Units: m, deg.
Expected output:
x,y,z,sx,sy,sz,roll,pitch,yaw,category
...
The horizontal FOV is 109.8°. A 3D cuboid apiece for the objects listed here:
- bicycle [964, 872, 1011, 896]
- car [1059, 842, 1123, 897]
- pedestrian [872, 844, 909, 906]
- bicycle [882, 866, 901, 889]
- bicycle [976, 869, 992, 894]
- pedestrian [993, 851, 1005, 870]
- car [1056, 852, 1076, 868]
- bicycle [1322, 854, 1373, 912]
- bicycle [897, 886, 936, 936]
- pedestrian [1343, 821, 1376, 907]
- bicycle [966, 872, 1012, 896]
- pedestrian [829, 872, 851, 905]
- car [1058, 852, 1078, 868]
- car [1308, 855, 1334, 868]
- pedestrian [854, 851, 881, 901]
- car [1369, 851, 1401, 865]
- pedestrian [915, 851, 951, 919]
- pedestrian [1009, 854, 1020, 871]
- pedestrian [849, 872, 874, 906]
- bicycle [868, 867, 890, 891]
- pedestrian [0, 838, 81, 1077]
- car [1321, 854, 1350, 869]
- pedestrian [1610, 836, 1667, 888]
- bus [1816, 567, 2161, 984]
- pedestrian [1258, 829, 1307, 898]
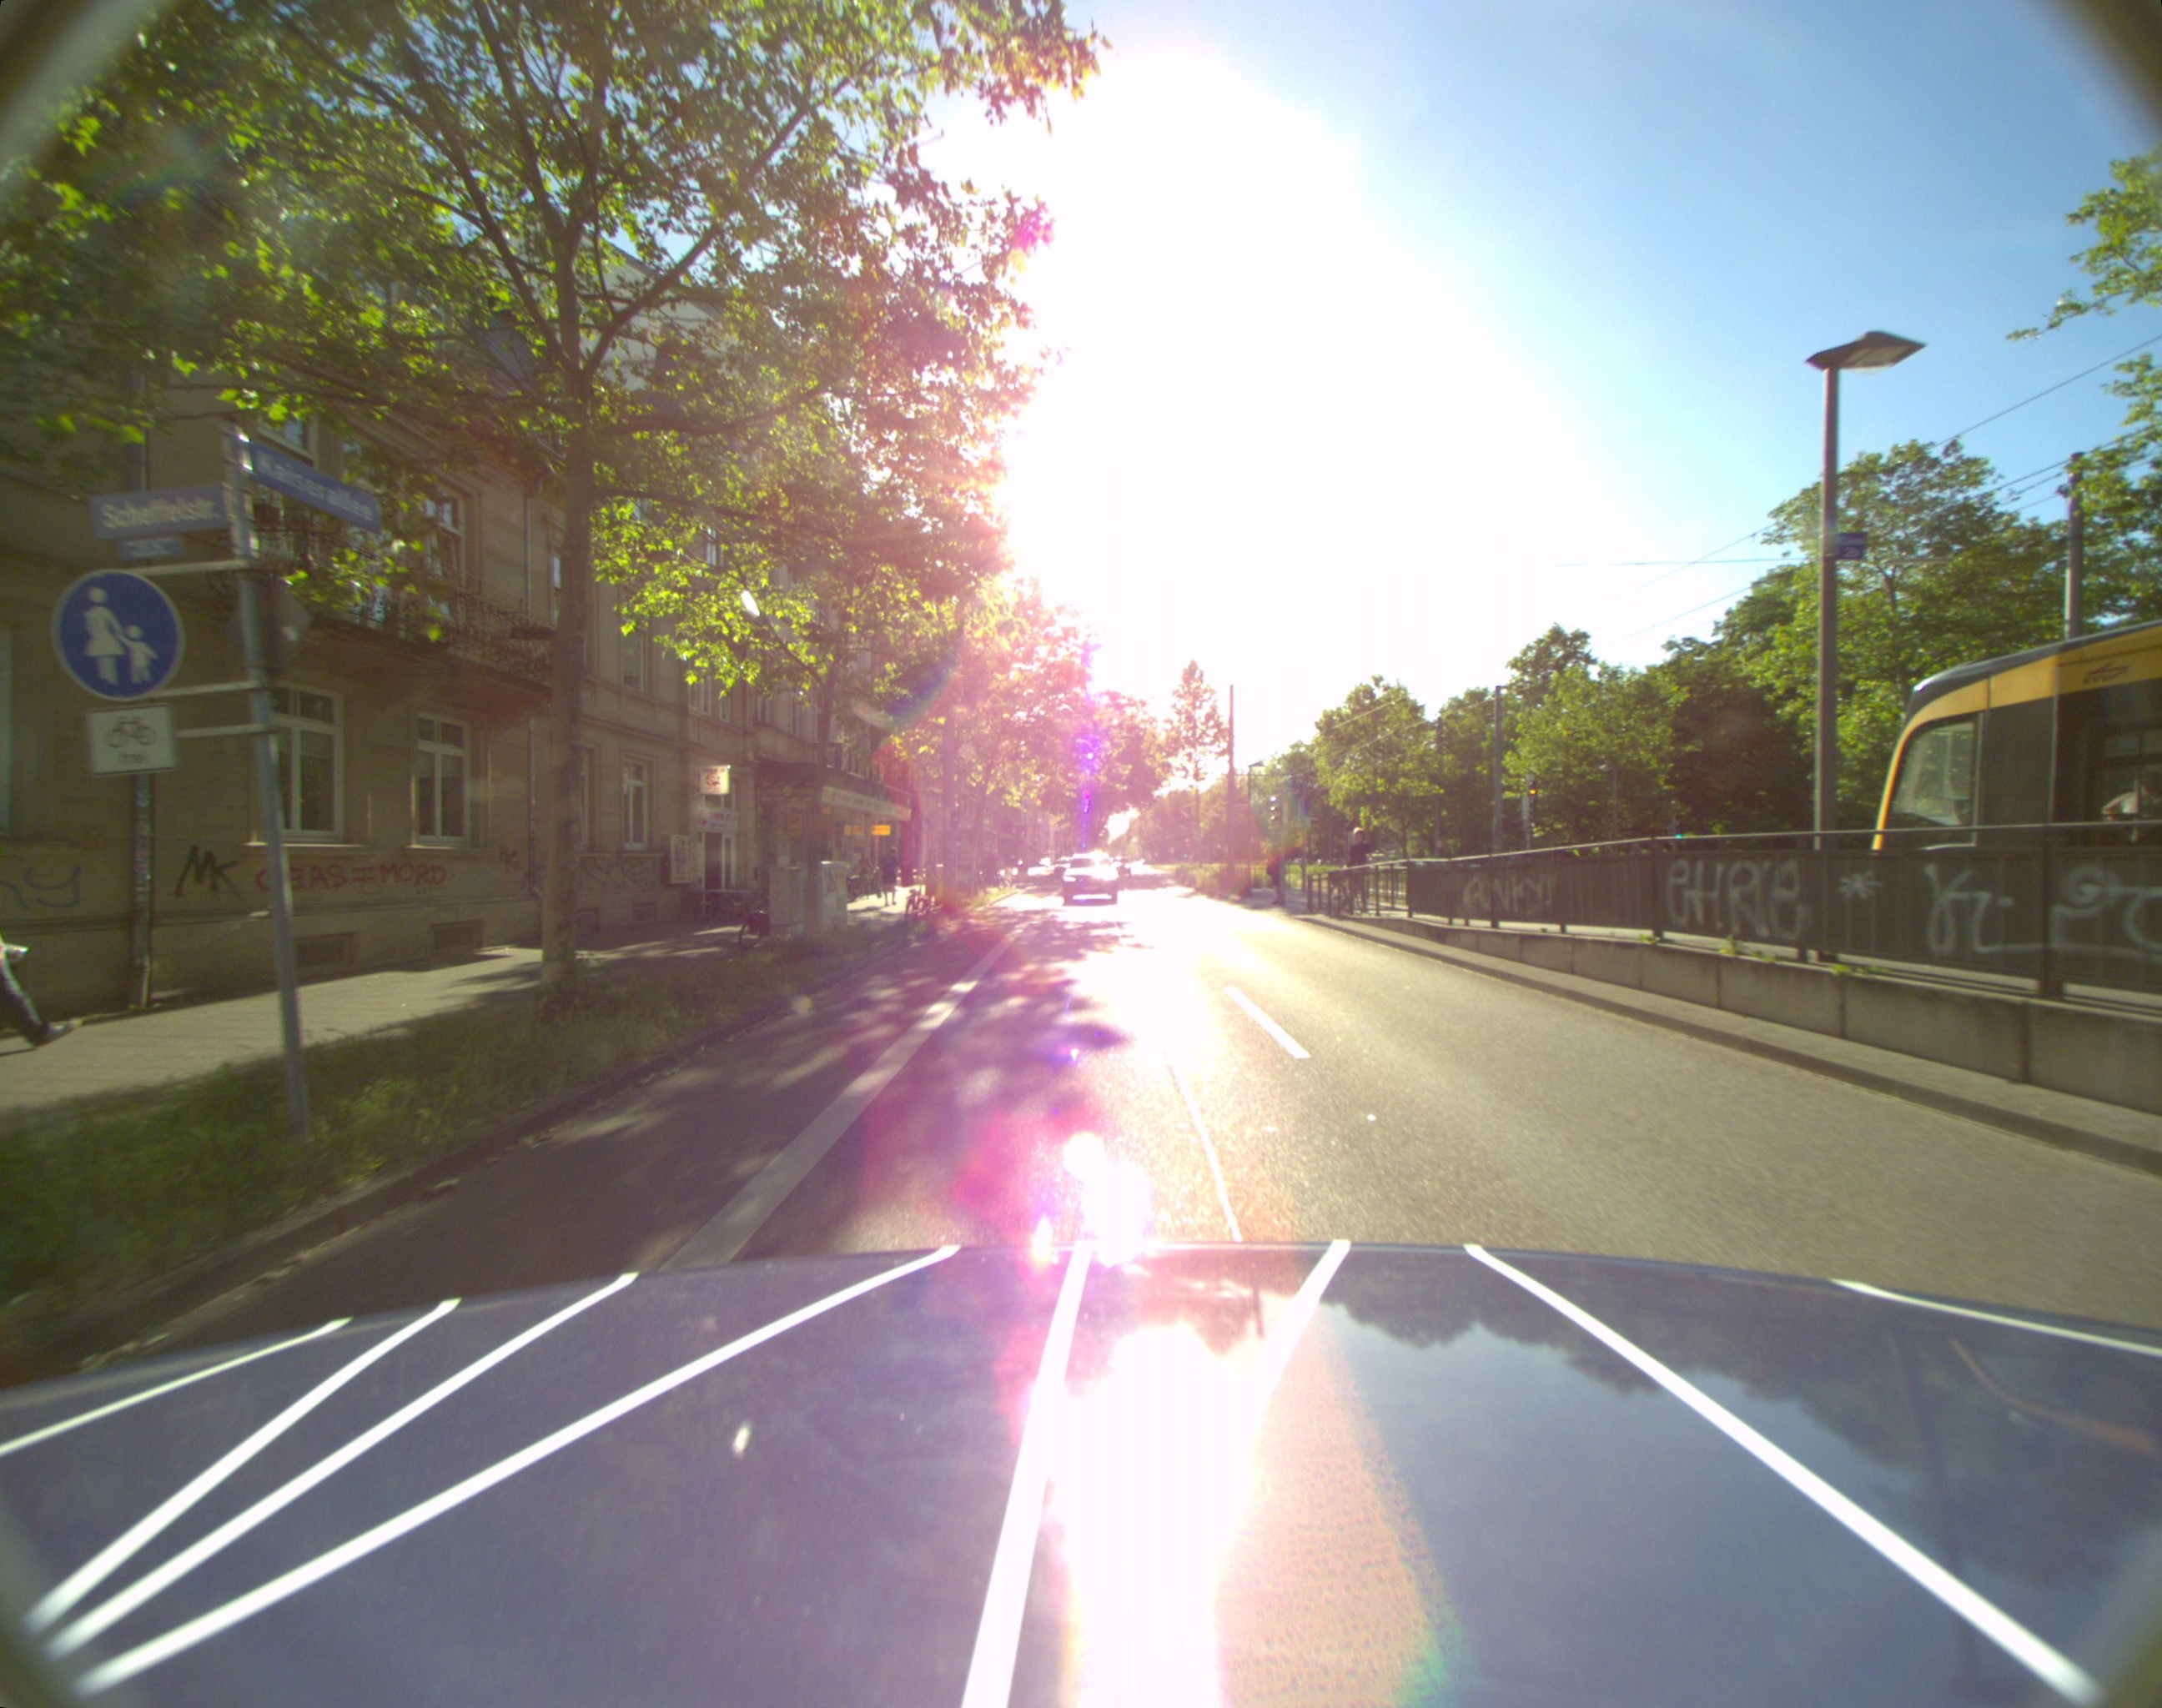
x,y,z,sx,sy,sz,roll,pitch,yaw,category
-4.225,1.369,34.395,2.019,0.987,0.444,-2,0,-1,bicycle
0.328,0.520,25.976,1.969,1.663,4.000,-2,-1,0,car
-6.262,0.690,25.061,0.884,2.002,0.857,-2,0,4,pedestrian
-8.806,1.085,35.406,0.444,0.987,1.689,-2,-1,0,bicycle
-4.018,1.138,31.294,0.444,0.987,1.687,-2,-1,-13,bicycle
-7.701,0.605,71.723,1.002,1.829,0.715,-1,1,3,pedestrian
-1.421,0.576,71.772,1.705,1.415,4.517,-2,-1,0,car
5.904,0.614,16.898,0.329,1.207,1.828,-1,0,-5,bicycle
-3.614,1.231,16.773,0.429,0.964,1.751,-2,-1,1,bicycle
6.240,0.211,17.040,0.452,1.891,0.584,-1,1,-6,pedestrian
-4.232,1.374,34.898,2.009,0.987,0.444,-2,0,-1,bicycle
-8.792,1.248,27.713,0.648,1.154,0.610,-2,0,-10,pedestrian
-1.308,0.595,79.081,1.810,1.481,4.920,-2,0,2,car
32.026,1.065,101.425,1.999,1.612,4.000,-2,-1,-2,car
-7.876,0.806,28.084,0.468,1.800,0.775,-2,0,32,pedestrian
31.346,0.403,78.498,1.773,1.304,3.781,-2,-1,1,car
-3.954,0.821,20.320,0.643,1.761,0.869,-2,0,7,pedestrian
-7.147,0.901,81.414,1.002,1.750,0.715,-2,0,1,pedestrian
-7.841,1.242,27.135,0.775,1.154,0.468,-2,0,-24,pedestrian
-8.683,1.063,32.682,0.444,0.987,1.689,-2,-1,0,bicycle
-8.530,0.796,5.767,0.565,1.816,0.959,-2,0,-2,pedestrian
32.103,0.964,95.837,1.999,1.673,4.514,-2,-1,-2,car
18.053,0.244,24.623,1.180,1.634,0.892,0,1,-6,pedestrian
10.237,-0.651,2.614,2.876,3.424,13.217,-1,0,1,bus
5.717,0.273,21.633,1.075,1.905,1.126,-1,1,-1,pedestrian
